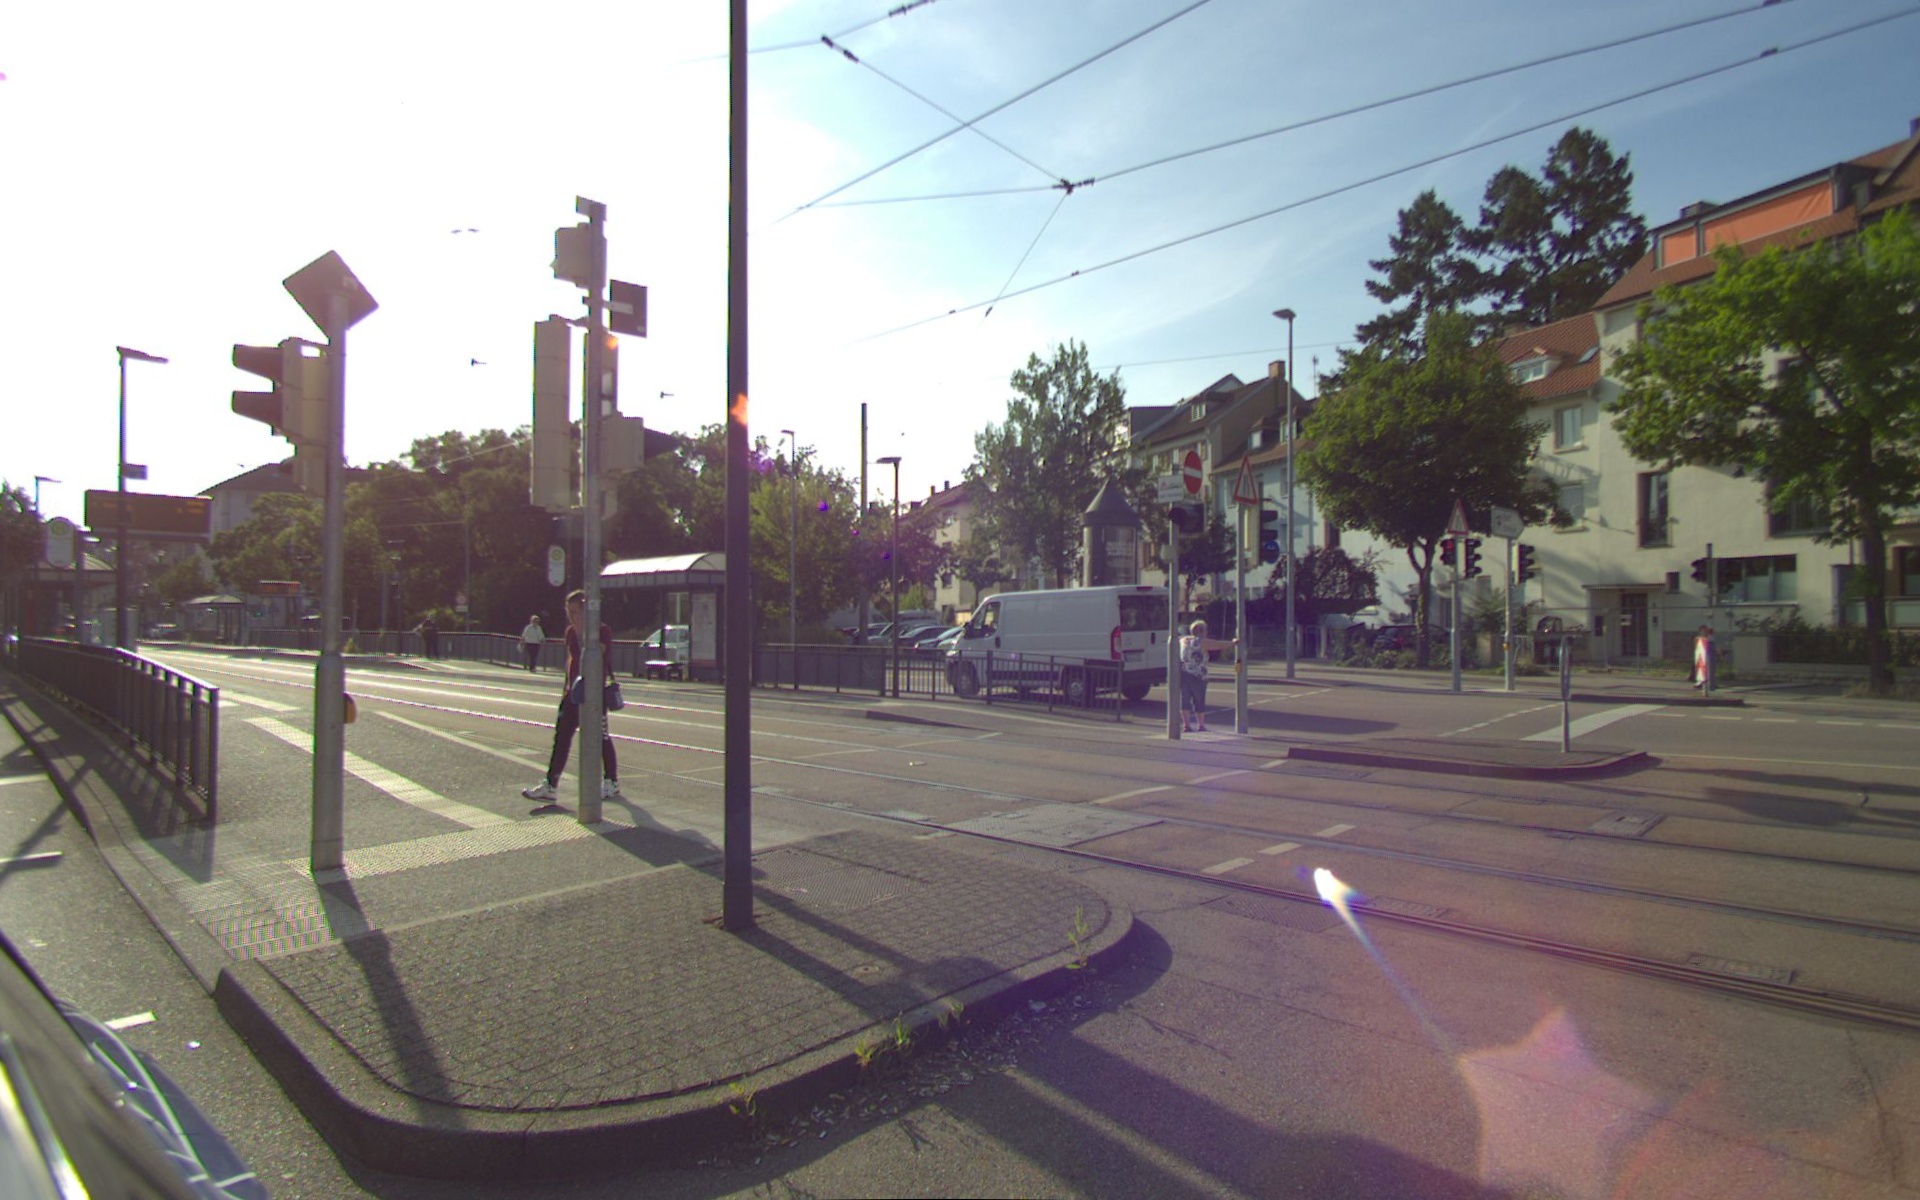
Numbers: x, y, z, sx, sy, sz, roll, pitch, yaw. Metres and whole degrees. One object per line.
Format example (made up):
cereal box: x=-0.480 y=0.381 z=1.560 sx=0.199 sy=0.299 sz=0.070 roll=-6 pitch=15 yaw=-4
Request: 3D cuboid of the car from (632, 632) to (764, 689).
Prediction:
car: x=-7.694 y=1.755 z=29.528 sx=4.121 sy=1.538 sz=1.659 roll=-3 pitch=-4 yaw=40

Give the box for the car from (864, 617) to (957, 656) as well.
car: x=-2.302 y=1.724 z=47.446 sx=3.931 sy=1.767 sz=1.860 roll=1 pitch=-2 yaw=-27

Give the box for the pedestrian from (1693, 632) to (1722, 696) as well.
pedestrian: x=18.201 y=1.554 z=24.645 sx=0.398 sy=1.527 sz=0.391 roll=1 pitch=-2 yaw=-19

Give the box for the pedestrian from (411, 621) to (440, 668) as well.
pedestrian: x=-19.213 y=1.594 z=36.402 sx=0.689 sy=1.640 sz=0.726 roll=-2 pitch=-3 yaw=44

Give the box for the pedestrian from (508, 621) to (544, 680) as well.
pedestrian: x=-12.319 y=1.432 z=28.744 sx=0.727 sy=1.640 sz=0.698 roll=-2 pitch=-3 yaw=44

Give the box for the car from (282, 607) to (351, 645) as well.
car: x=-36.259 y=1.469 z=56.988 sx=5.389 sy=2.029 sz=2.121 roll=-2 pitch=-3 yaw=45

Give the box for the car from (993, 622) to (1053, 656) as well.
car: x=3.471 y=2.179 z=56.549 sx=1.786 sy=1.814 sz=4.013 roll=1 pitch=-2 yaw=-23

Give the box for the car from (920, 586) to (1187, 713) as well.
car: x=1.742 y=0.982 z=20.573 sx=2.152 sy=2.256 sz=5.256 roll=2 pitch=-3 yaw=-45

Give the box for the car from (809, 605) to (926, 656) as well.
car: x=-5.321 y=1.727 z=58.448 sx=6.487 sy=2.830 sz=1.778 roll=0 pitch=-2 yaw=-25

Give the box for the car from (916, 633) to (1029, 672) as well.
car: x=0.472 y=1.988 z=38.777 sx=3.930 sy=1.439 sz=1.778 roll=1 pitch=-2 yaw=-25

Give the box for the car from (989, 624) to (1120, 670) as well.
car: x=3.096 y=1.519 z=33.170 sx=3.930 sy=1.439 sz=1.778 roll=1 pitch=-2 yaw=-25

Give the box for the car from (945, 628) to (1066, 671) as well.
car: x=1.619 y=1.746 z=36.208 sx=3.930 sy=1.439 sz=1.778 roll=1 pitch=-2 yaw=-25

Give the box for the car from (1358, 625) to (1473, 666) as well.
car: x=17.884 y=1.777 z=39.776 sx=3.931 sy=1.570 sz=1.862 roll=1 pitch=-2 yaw=-20

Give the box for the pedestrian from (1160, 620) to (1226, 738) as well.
pedestrian: x=3.264 y=1.090 z=14.191 sx=0.715 sy=1.601 sz=0.584 roll=-2 pitch=-3 yaw=41

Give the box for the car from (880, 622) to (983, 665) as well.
car: x=-1.190 y=1.822 z=42.729 sx=3.931 sy=1.767 sz=1.860 roll=1 pitch=-2 yaw=-27

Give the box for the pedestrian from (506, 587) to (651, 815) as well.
pedestrian: x=-3.024 y=0.763 z=8.030 sx=0.870 sy=1.683 sz=0.672 roll=2 pitch=-3 yaw=-43

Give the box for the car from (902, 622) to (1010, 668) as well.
car: x=-0.172 y=1.800 z=40.840 sx=3.931 sy=1.767 sz=1.860 roll=1 pitch=-2 yaw=-27
